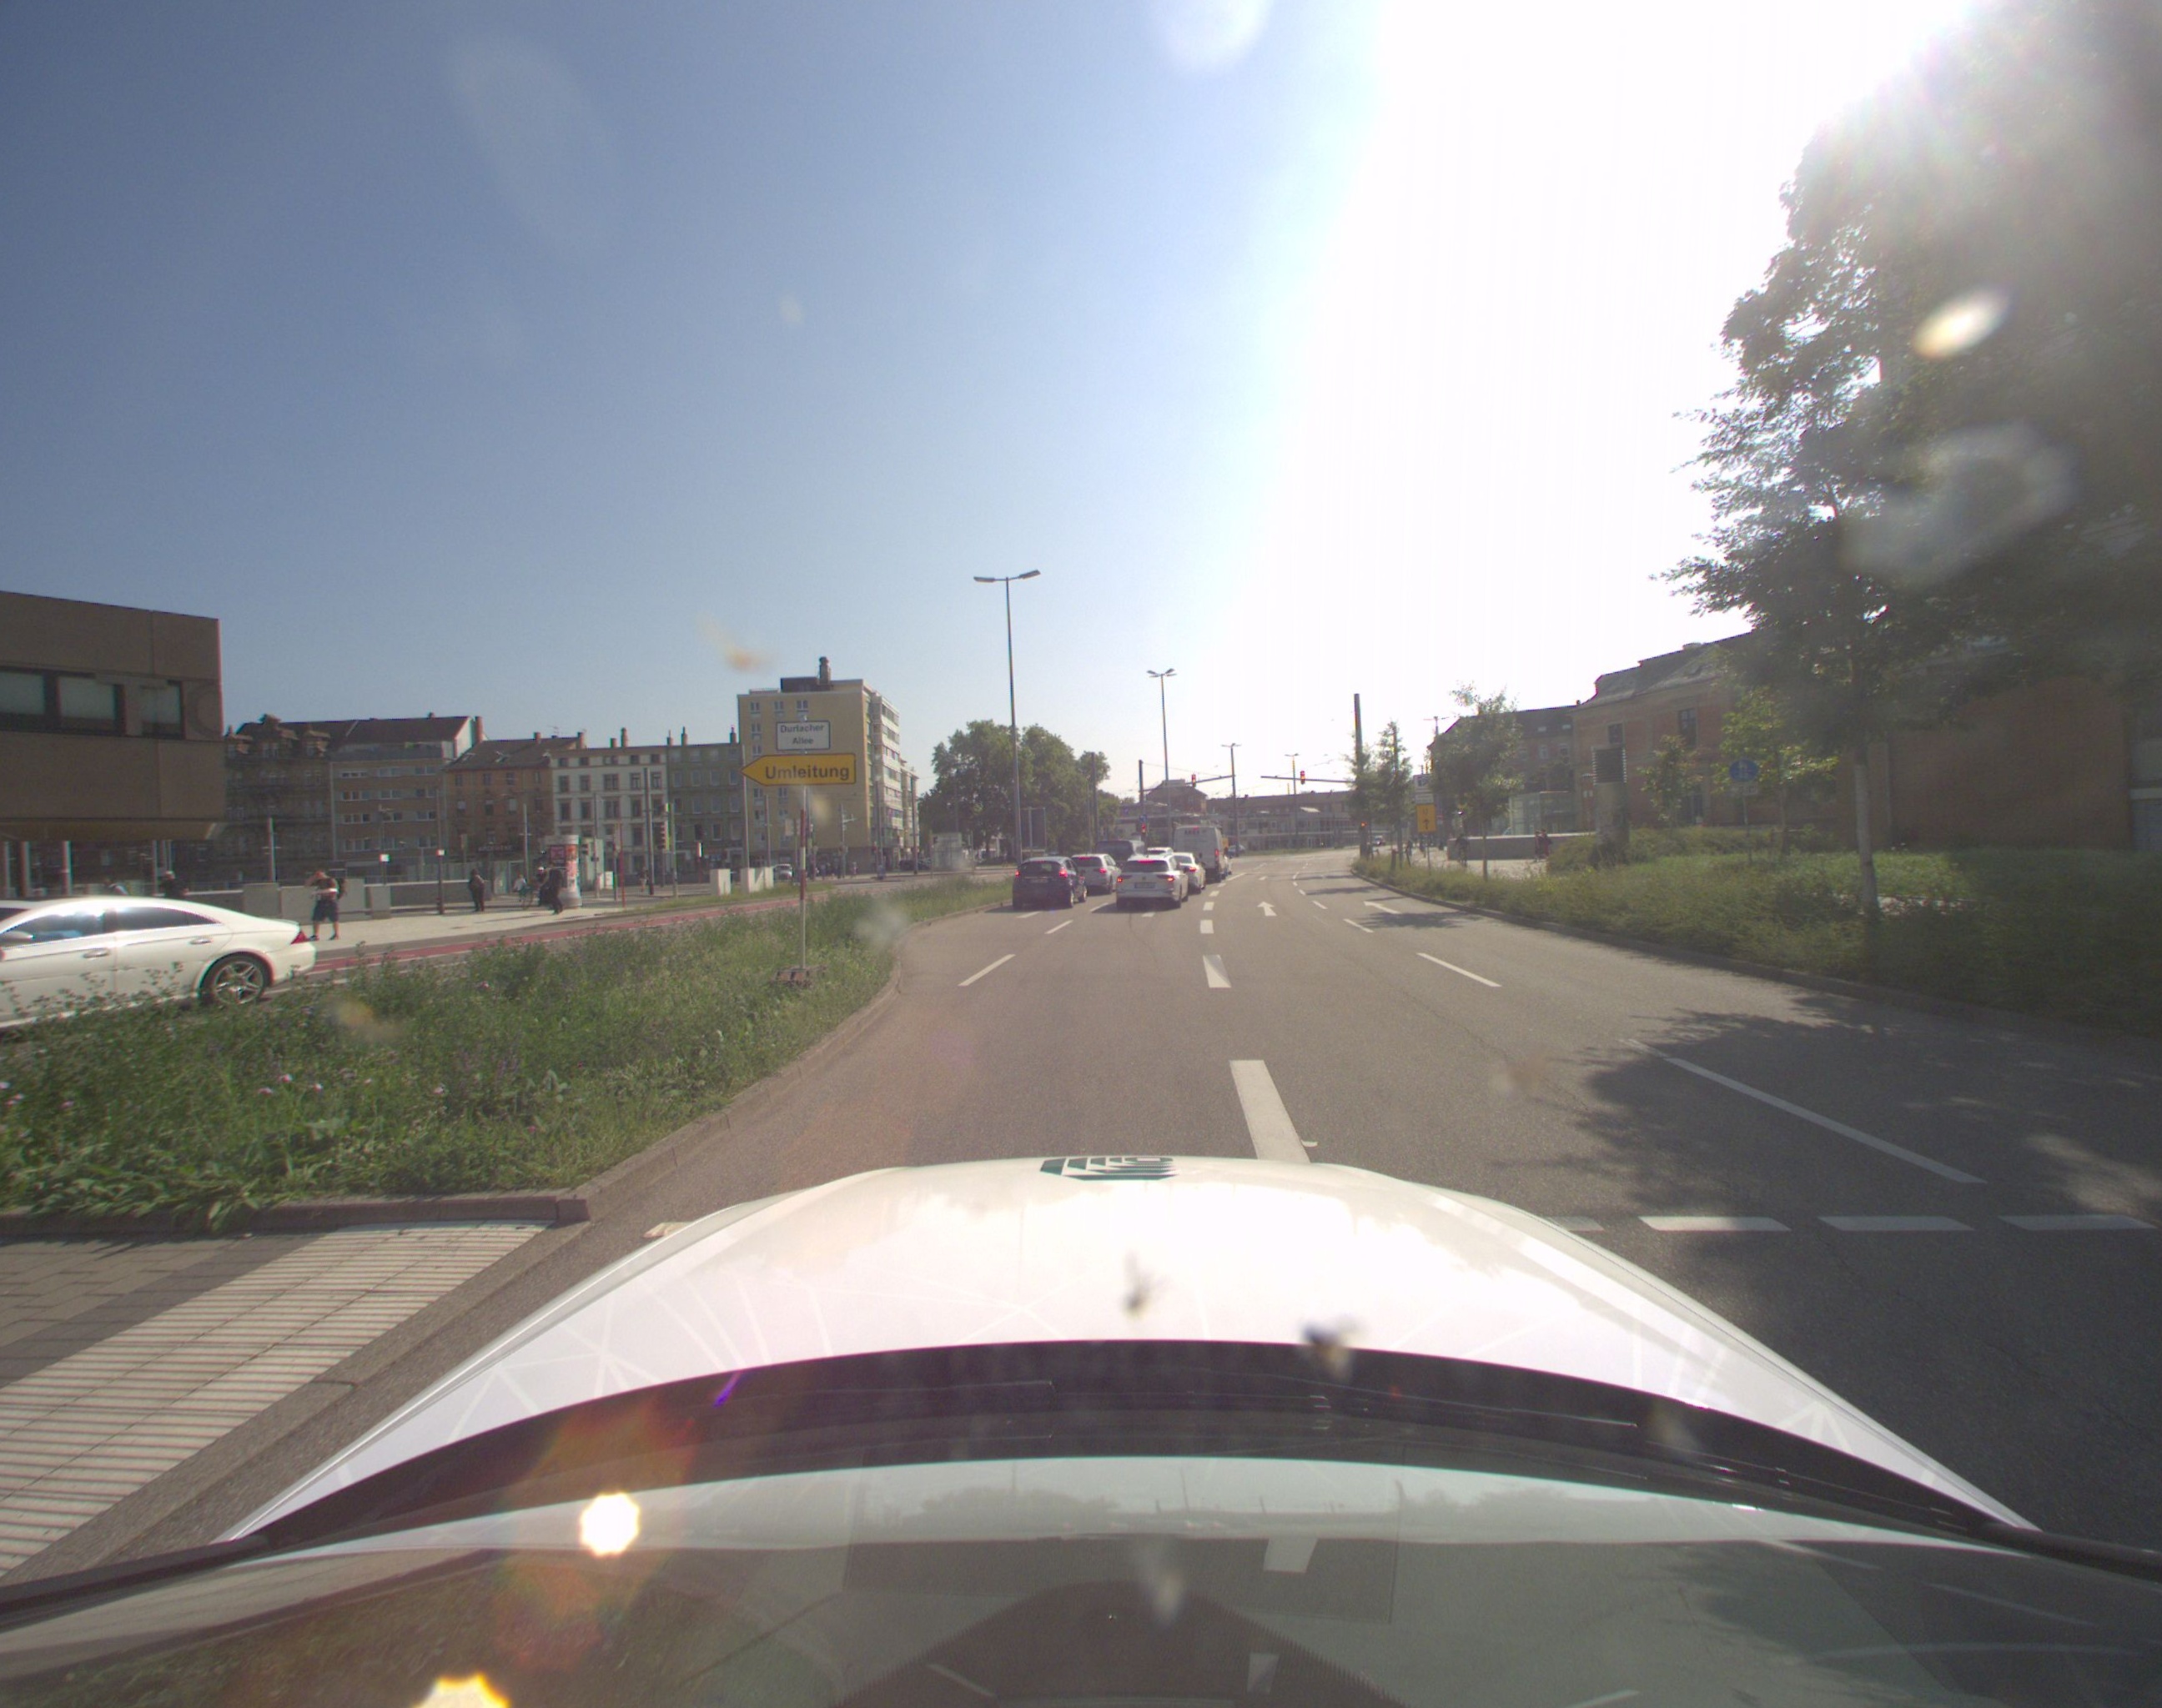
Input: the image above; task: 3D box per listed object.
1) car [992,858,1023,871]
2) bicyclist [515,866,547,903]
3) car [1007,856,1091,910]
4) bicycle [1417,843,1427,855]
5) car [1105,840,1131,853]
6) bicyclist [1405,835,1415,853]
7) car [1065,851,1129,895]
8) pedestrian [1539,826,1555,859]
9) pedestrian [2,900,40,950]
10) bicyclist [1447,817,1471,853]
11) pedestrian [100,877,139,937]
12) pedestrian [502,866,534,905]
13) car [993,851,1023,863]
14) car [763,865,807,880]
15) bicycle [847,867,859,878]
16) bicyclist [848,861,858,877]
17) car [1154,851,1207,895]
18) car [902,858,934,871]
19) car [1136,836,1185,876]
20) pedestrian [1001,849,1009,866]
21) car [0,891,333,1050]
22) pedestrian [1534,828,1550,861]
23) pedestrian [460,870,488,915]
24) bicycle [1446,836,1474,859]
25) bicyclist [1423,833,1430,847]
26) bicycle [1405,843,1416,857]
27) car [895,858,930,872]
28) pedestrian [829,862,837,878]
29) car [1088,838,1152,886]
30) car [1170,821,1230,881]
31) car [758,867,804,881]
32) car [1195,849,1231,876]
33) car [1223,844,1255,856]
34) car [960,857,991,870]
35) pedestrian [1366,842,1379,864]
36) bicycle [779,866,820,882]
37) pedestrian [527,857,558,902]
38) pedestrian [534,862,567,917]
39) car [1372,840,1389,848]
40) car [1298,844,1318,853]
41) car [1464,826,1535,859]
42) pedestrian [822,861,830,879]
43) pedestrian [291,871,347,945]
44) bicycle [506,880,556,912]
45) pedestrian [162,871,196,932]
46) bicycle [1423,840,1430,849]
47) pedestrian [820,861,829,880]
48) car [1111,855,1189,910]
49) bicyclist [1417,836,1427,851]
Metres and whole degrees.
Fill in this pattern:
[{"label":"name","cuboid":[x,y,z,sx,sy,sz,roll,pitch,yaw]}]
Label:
[{"label":"car","cuboid":[-10.130,1.494,113.030,3.971,1.618,1.814,-3,0,2]},{"label":"bicyclist","cuboid":[-21.217,1.181,31.445,0.560,1.361,0.884,0,2,2]},{"label":"car","cuboid":[-0.851,0.785,23.915,1.691,1.368,3.973,-2,0,9]},{"label":"bicycle","cuboid":[31.932,-0.506,76.212,0.699,1.061,1.994,-2,0,25]},{"label":"car","cuboid":[6.149,-1.294,135.218,3.963,2.013,2.006,-2,2,9]},{"label":"bicyclist","cuboid":[27.511,-0.835,68.138,0.706,1.529,0.811,-3,0,25]},{"label":"car","cuboid":[0.643,0.643,29.873,1.478,1.415,3.662,-2,1,14]},{"label":"pedestrian","cuboid":[23.844,-0.581,41.661,0.609,1.628,0.537,-3,0,24]},{"label":"pedestrian","cuboid":[-26.638,1.774,20.475,0.588,1.171,0.527,-3,0,41]},{"label":"bicyclist","cuboid":[16.841,-0.844,36.284,0.766,1.578,0.995,-2,0,17]},{"label":"pedestrian","cuboid":[-28.714,1.574,24.323,0.526,1.695,0.611,-1,3,32]},{"label":"pedestrian","cuboid":[-31.094,1.714,44.989,0.955,2.013,1.022,-2,2,-1]},{"label":"car","cuboid":[-10.263,0.432,115.128,3.971,1.618,1.814,-3,0,2]},{"label":"car","cuboid":[-29.908,1.857,82.371,3.726,1.393,1.586,-2,0,-1]},{"label":"bicycle","cuboid":[-21.379,1.756,76.484,0.726,0.984,1.729,-2,0,-5]},{"label":"bicyclist","cuboid":[-21.402,1.410,76.543,0.724,1.434,0.689,-2,0,-5]},{"label":"car","cuboid":[3.613,0.638,29.113,1.479,1.403,3.955,-2,0,12]},{"label":"car","cuboid":[-22.203,1.369,111.077,3.977,1.557,1.867,-3,0,-2]},{"label":"car","cuboid":[4.401,0.109,44.452,2.009,2.008,4.700,-2,0,13]},{"label":"pedestrian","cuboid":[-9.244,0.460,99.264,0.819,2.013,0.509,-3,0,1]},{"label":"car","cuboid":[-10.871,1.159,8.266,1.833,1.361,4.826,-1,-1,5]},{"label":"pedestrian","cuboid":[23.231,-0.495,41.041,0.608,1.639,0.537,-3,0,32]},{"label":"pedestrian","cuboid":[-22.102,1.385,29.664,0.494,1.579,0.510,-2,2,13]},{"label":"bicycle","cuboid":[16.864,-0.291,36.270,0.766,0.976,2.159,-2,0,16]},{"label":"bicyclist","cuboid":[47.487,-1.917,111.913,0.739,1.829,0.811,-3,0,24]},{"label":"bicycle","cuboid":[27.558,-0.336,68.158,0.699,1.061,1.994,-2,0,25]},{"label":"car","cuboid":[-21.512,1.430,104.143,3.975,1.557,1.869,-2,2,-1]},{"label":"pedestrian","cuboid":[-23.527,1.537,77.291,0.501,1.487,0.435,-4,3,-40]},{"label":"car","cuboid":[1.873,0.328,37.094,2.009,2.008,4.700,-2,0,13]},{"label":"car","cuboid":[5.583,-0.129,37.695,2.173,2.549,4.702,-2,0,14]},{"label":"car","cuboid":[-29.158,1.943,79.216,3.814,1.180,1.576,-2,-2,2]},{"label":"car","cuboid":[7.327,0.434,45.024,1.625,1.403,3.701,-2,0,13]},{"label":"car","cuboid":[20.328,-0.487,105.027,3.945,1.342,1.934,-3,0,6]},{"label":"car","cuboid":[-14.616,1.315,113.038,3.977,1.557,1.726,-2,0,-2]},{"label":"pedestrian","cuboid":[18.336,-0.055,51.186,0.632,1.362,0.635,-2,0,8]},{"label":"bicycle","cuboid":[-31.267,2.246,90.481,3.978,1.551,1.194,-2,2,-4]},{"label":"pedestrian","cuboid":[-22.964,1.084,34.760,0.883,1.818,0.889,-3,3,-25]},{"label":"pedestrian","cuboid":[-18.244,1.193,28.016,0.852,1.778,0.867,-4,3,-34]},{"label":"car","cuboid":[57.794,-1.936,157.119,1.974,1.442,4.026,-2,0,36]},{"label":"car","cuboid":[39.572,-0.946,141.979,1.974,1.442,4.026,-2,0,35]},{"label":"car","cuboid":[28.051,-0.789,54.648,3.984,2.013,1.749,-3,2,-8]},{"label":"pedestrian","cuboid":[-24.051,1.500,76.833,0.458,1.684,0.435,-4,3,-40]},{"label":"pedestrian","cuboid":[-18.932,1.318,20.252,0.679,1.759,0.872,-2,0,-22]},{"label":"bicycle","cuboid":[-21.215,1.610,31.477,0.559,1.064,1.853,-1,3,3]},{"label":"pedestrian","cuboid":[-27.504,1.442,24.834,0.388,1.819,0.560,-3,0,24]},{"label":"bicycle","cuboid":[47.512,-1.313,111.893,0.733,1.217,2.258,-3,0,24]},{"label":"pedestrian","cuboid":[-23.895,1.518,75.837,0.451,1.684,0.549,-2,2,11]},{"label":"car","cuboid":[2.013,0.738,22.811,1.673,1.387,3.646,-2,0,12]},{"label":"bicyclist","cuboid":[31.943,-0.977,76.280,0.699,1.394,0.834,-2,0,25]}]
